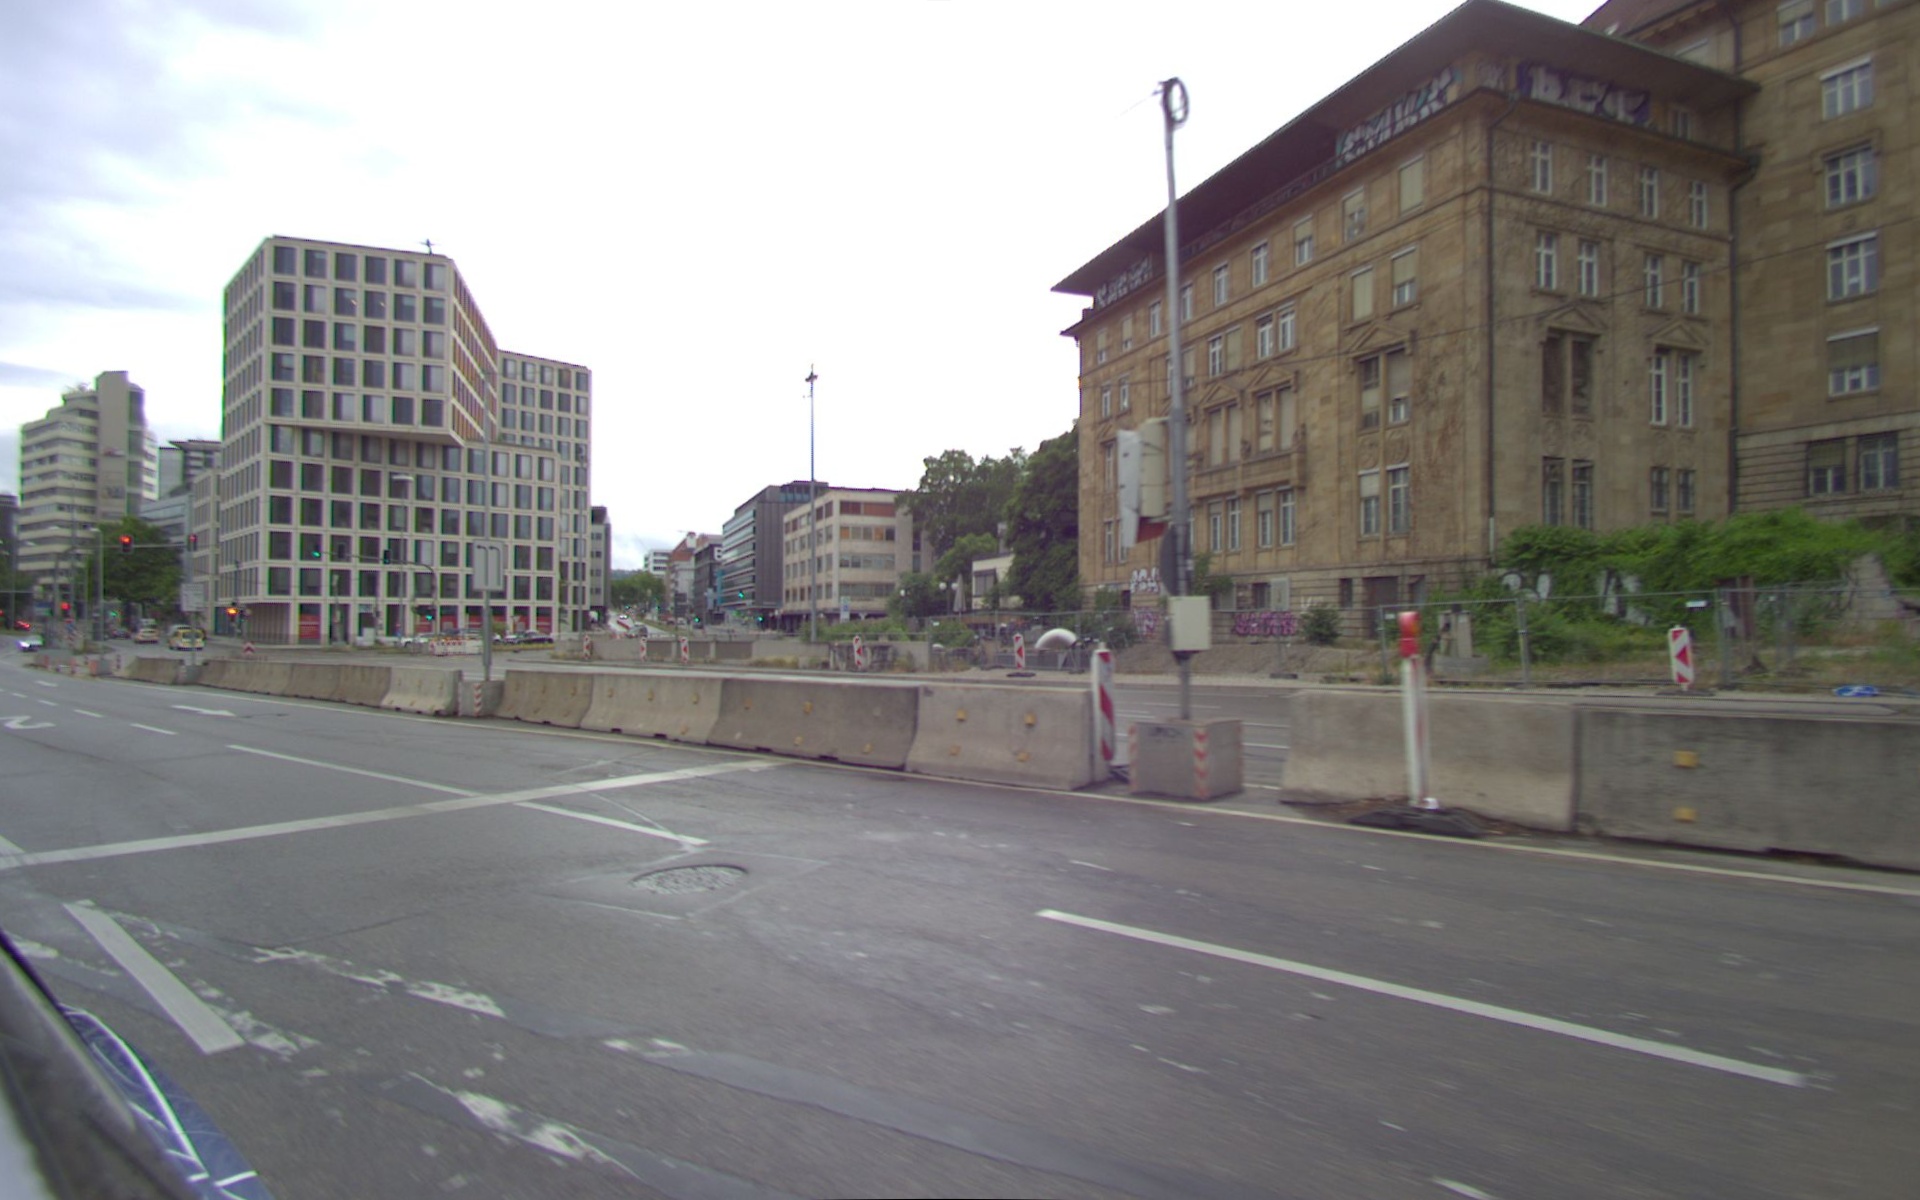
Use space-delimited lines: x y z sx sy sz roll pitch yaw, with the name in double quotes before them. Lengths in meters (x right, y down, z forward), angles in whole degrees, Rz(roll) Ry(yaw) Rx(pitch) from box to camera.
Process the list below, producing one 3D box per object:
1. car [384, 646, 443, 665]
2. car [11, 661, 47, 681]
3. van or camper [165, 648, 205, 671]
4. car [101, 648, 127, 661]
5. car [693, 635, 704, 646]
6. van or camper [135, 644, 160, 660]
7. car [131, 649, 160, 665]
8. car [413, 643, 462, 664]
"car" -54.412 5.539 100.782 2.228 1.766 4.747 -2 -3 41
"car" -81.842 6.217 89.017 1.986 1.610 4.671 0 -2 -39
"van or camper" -72.928 5.560 95.179 5.609 2.070 2.214 -2 -2 44
"car" -105.197 6.752 125.809 4.178 1.610 1.826 -2 -2 41
"car" -51.957 8.043 201.185 1.966 2.029 4.010 0 -2 -14
"van or camper" -105.745 6.697 131.740 4.253 1.994 1.826 -2 -2 41
"car" -90.611 6.337 112.603 4.379 1.686 1.822 -2 -2 42
"car" -50.877 5.201 98.585 3.940 1.829 1.807 0 -2 -44
